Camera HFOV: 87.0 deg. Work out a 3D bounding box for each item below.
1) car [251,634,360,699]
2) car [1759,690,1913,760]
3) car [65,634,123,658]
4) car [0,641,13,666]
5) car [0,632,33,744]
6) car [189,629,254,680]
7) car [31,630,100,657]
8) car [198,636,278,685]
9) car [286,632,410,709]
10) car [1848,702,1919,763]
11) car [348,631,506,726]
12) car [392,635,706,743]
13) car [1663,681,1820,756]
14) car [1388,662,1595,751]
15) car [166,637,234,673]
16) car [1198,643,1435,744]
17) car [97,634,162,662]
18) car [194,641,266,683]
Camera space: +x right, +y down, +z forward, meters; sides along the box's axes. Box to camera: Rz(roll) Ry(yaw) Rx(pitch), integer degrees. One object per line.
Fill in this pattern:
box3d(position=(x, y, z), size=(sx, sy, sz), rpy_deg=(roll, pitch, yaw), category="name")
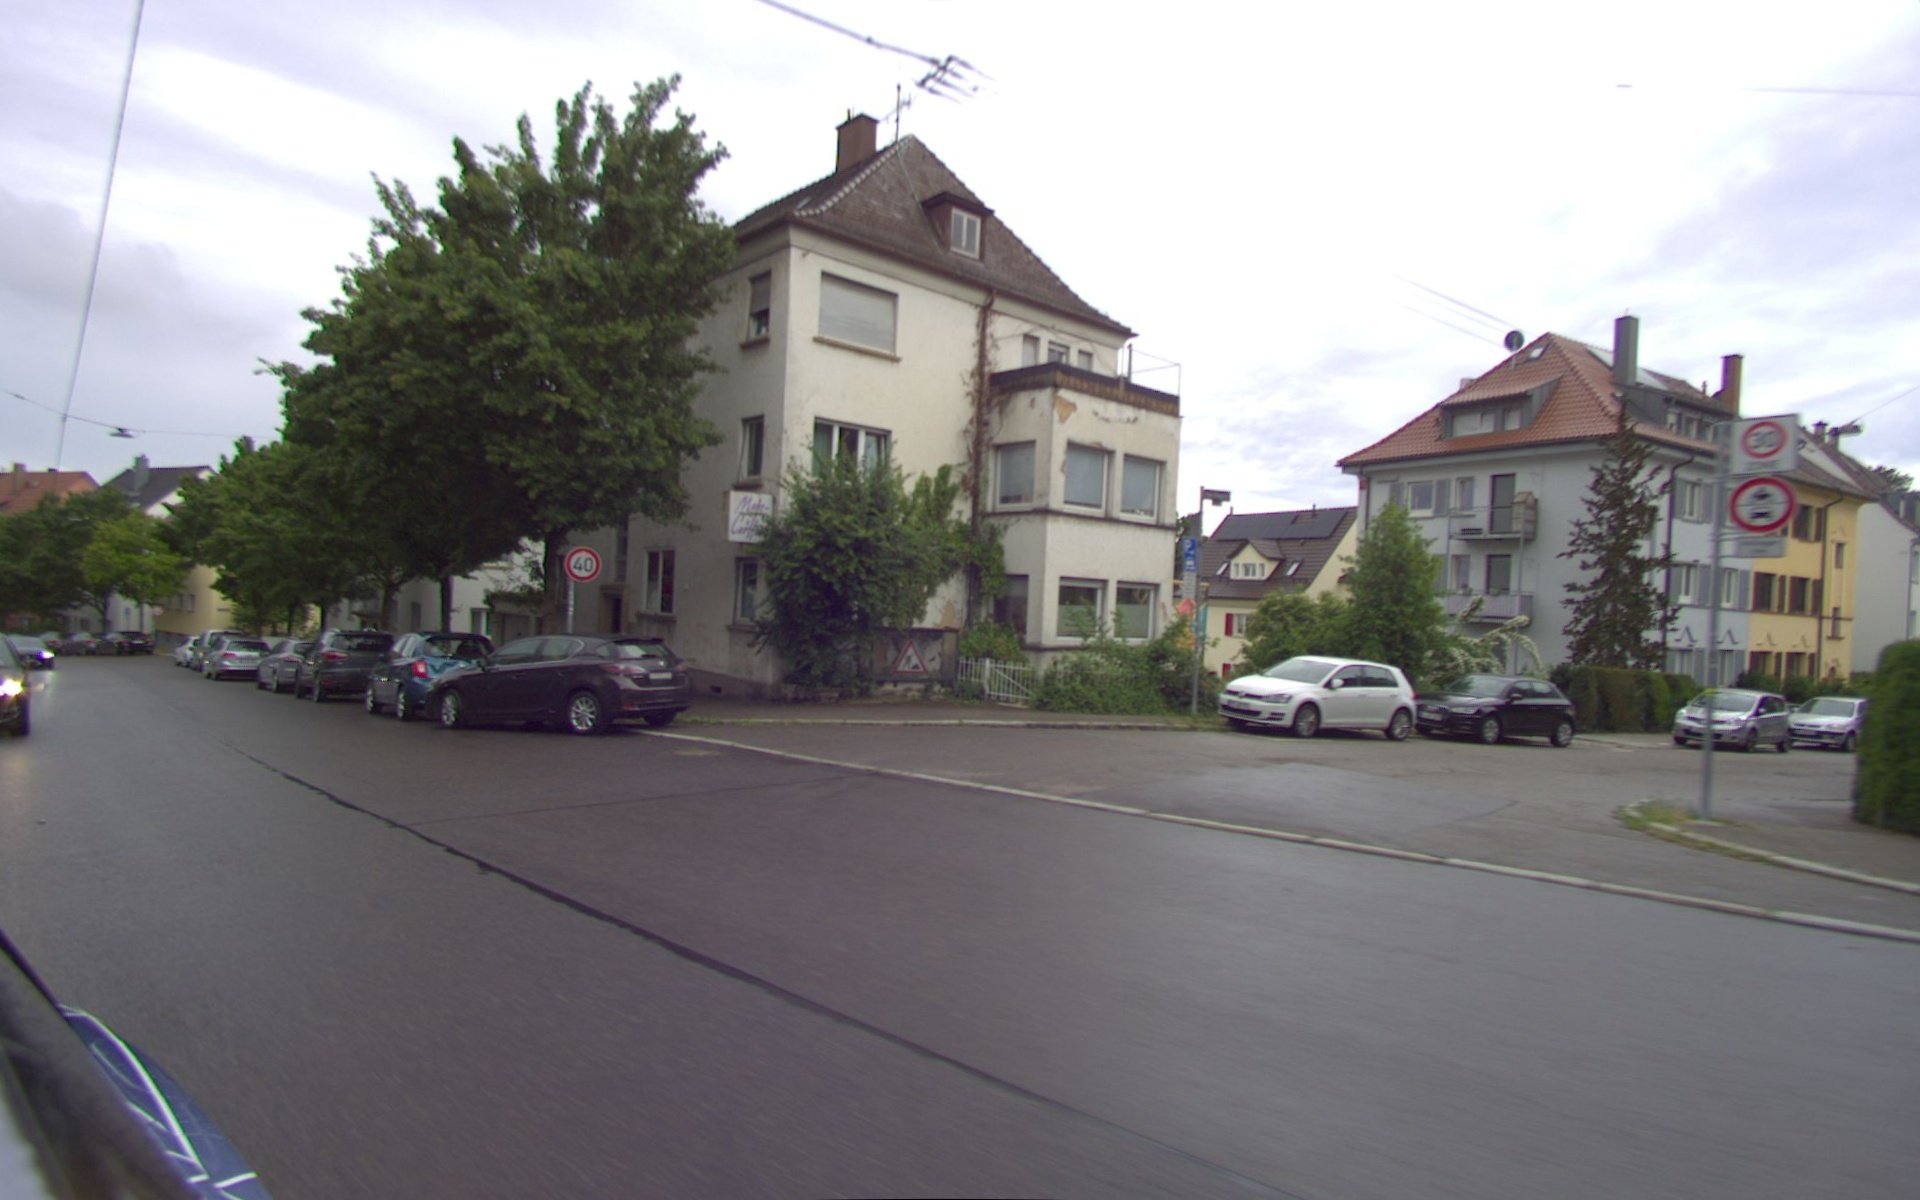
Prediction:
box3d(position=(-18.412, 1.831, 28.373), size=(1.782, 1.564, 4.806), rpy_deg=(5, -3, -41), category="car")
box3d(position=(24.886, 3.559, 28.744), size=(3.931, 1.618, 2.006), rpy_deg=(6, -3, -28), category="car")
box3d(position=(-52.929, 2.805, 61.812), size=(4.311, 1.407, 1.600), rpy_deg=(-2, -2, 34), category="car")
box3d(position=(-67.423, 3.718, 69.691), size=(4.566, 1.680, 1.842), rpy_deg=(-2, -1, 28), category="car")
box3d(position=(-14.434, 1.204, 14.460), size=(1.673, 1.475, 4.005), rpy_deg=(1, -2, -42), category="car")
box3d(position=(-32.705, 2.371, 44.782), size=(1.891, 2.016, 4.554), rpy_deg=(0, 0, -42), category="car")
box3d(position=(-56.805, 2.759, 64.256), size=(4.534, 1.703, 1.842), rpy_deg=(-2, -2, 28), category="car")
box3d(position=(-25.799, 2.101, 36.085), size=(1.783, 1.464, 4.602), rpy_deg=(0, 0, -42), category="car")
box3d(position=(-14.559, 1.585, 23.982), size=(1.782, 1.639, 4.144), rpy_deg=(1, -2, -42), category="car")
box3d(position=(29.143, 4.087, 30.722), size=(3.931, 1.618, 2.006), rpy_deg=(6, -3, -28), category="car")
box3d(position=(-9.727, 1.374, 18.330), size=(1.691, 1.474, 3.886), rpy_deg=(-1, -2, -41), category="car")
box3d(position=(-6.144, 1.240, 15.186), size=(4.169, 1.401, 1.985), rpy_deg=(0, -2, 22), category="car")
box3d(position=(20.371, 3.094, 26.356), size=(3.932, 1.618, 1.864), rpy_deg=(7, -3, -30), category="car")
box3d(position=(11.374, 2.276, 21.618), size=(4.035, 1.529, 2.006), rpy_deg=(7, -3, -30), category="car")
box3d(position=(-36.988, 2.677, 49.213), size=(4.345, 1.526, 1.765), rpy_deg=(0, -4, 42), category="car")
box3d(position=(6.734, 1.761, 19.063), size=(4.035, 1.529, 2.006), rpy_deg=(7, -3, -30), category="car")
box3d(position=(-48.957, 2.822, 59.634), size=(4.504, 1.552, 1.760), rpy_deg=(-1, 0, 34), category="car")
box3d(position=(-29.599, 2.507, 40.990), size=(1.783, 1.497, 4.240), rpy_deg=(5, -3, -43), category="car")
